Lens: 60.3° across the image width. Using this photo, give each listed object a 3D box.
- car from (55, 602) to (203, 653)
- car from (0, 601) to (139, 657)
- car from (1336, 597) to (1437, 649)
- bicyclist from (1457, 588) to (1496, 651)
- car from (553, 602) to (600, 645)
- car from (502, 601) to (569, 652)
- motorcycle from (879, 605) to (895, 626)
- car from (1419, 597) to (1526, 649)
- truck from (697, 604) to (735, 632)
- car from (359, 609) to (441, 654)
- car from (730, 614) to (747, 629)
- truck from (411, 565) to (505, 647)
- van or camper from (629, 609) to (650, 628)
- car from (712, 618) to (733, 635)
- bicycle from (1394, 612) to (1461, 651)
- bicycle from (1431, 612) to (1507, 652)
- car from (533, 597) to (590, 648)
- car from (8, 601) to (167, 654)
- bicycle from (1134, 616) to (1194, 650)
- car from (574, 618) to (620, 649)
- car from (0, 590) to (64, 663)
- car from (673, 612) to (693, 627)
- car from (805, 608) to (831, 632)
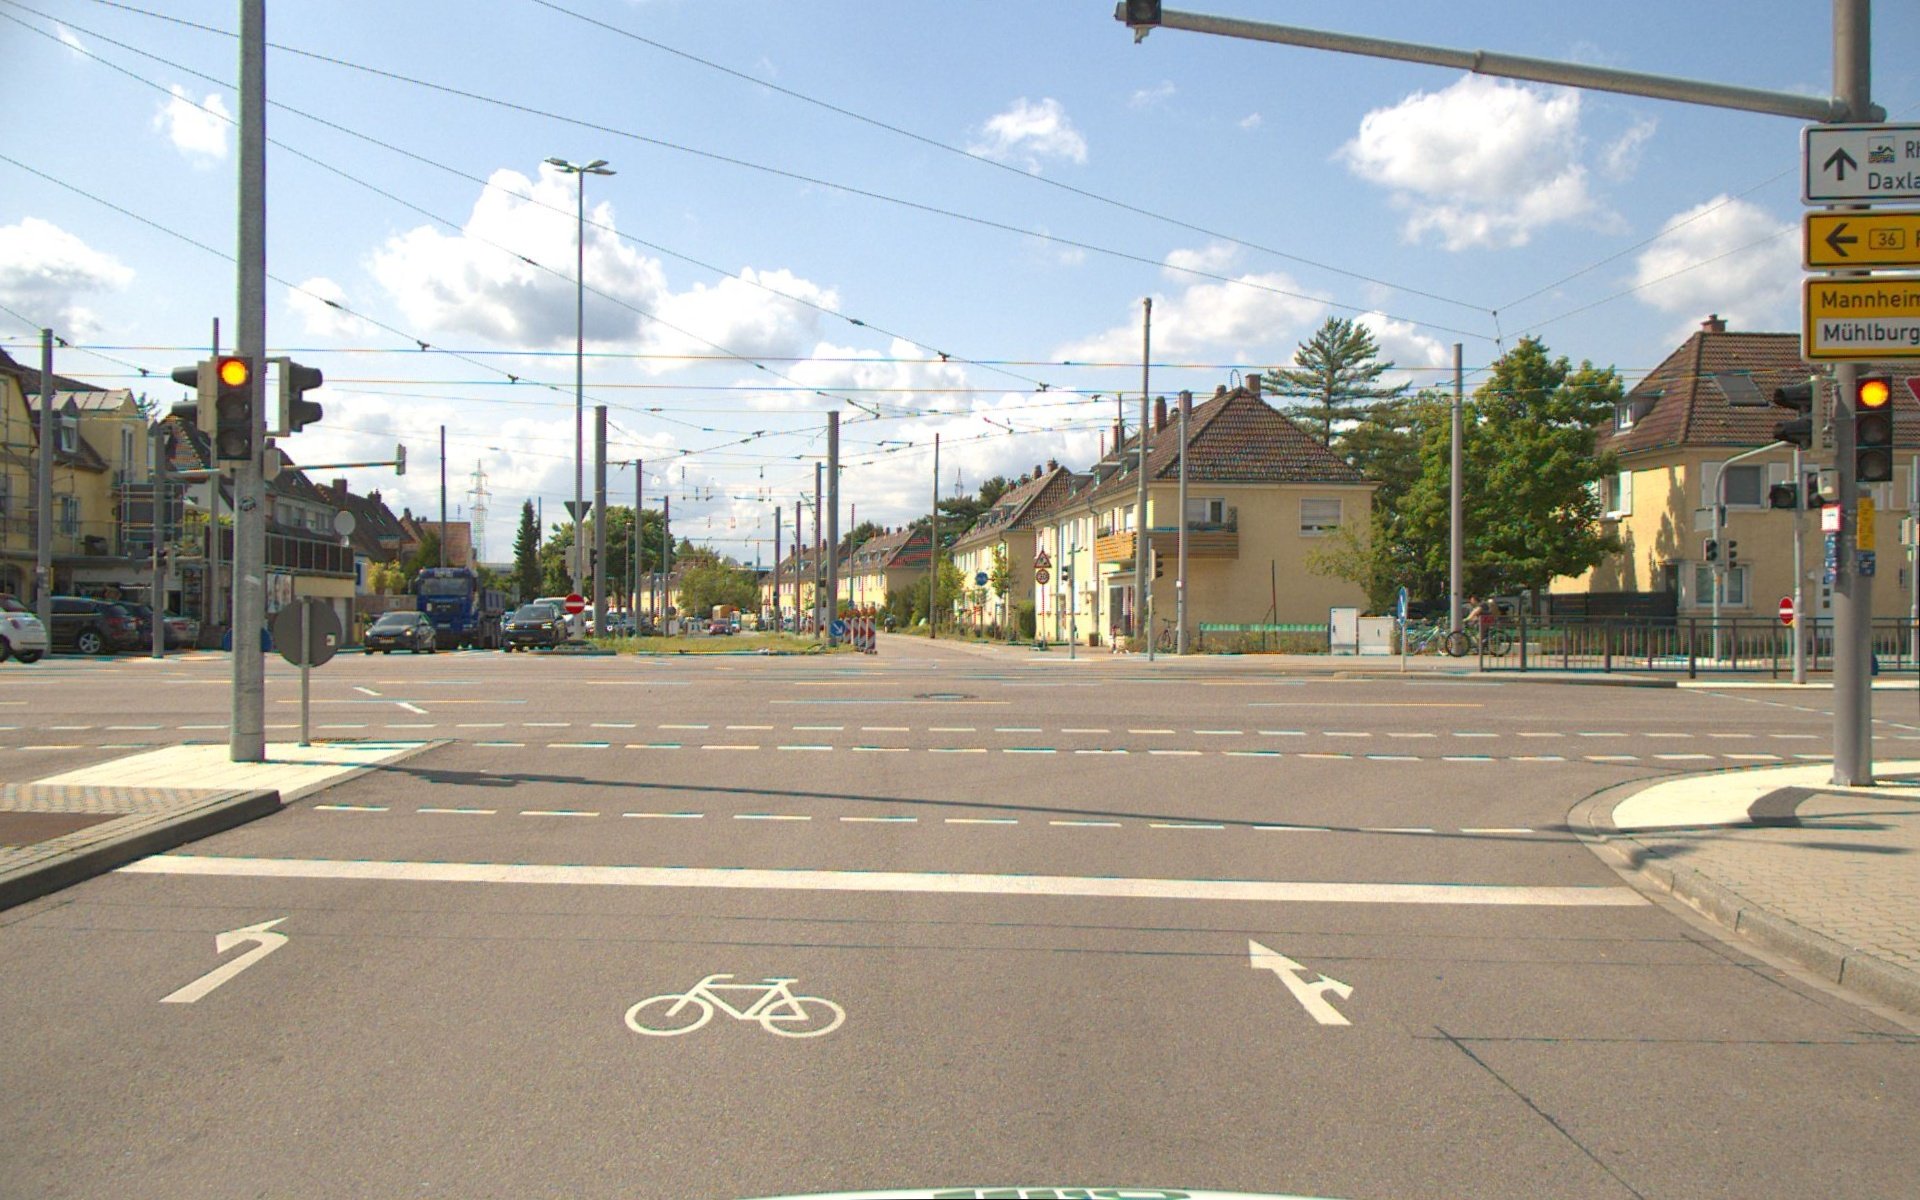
[{"bbox_3d":[-27.372,0.904,54.564,4.058,1.519,1.432,2,-1,-9],"label":"car"},{"bbox_3d":[-26.818,0.858,49.185,4.058,1.519,1.177,2,-1,-9],"label":"car"},{"bbox_3d":[14.294,0.793,55.589,1.789,1.649,3.990,0,-2,-10],"label":"car"},{"bbox_3d":[14.811,0.558,47.445,0.939,1.806,0.718,-1,-1,29],"label":"bicyclist"},{"bbox_3d":[-17.021,1.038,73.556,1.700,1.813,4.396,0,-1,-9],"label":"car"},{"bbox_3d":[-15.173,0.900,59.299,1.752,1.751,4.434,0,0,-7],"label":"car"},{"bbox_3d":[-5.838,1.221,131.906,1.046,1.664,2.079,0,-1,-9],"label":"motorcycle"},{"bbox_3d":[17.056,0.793,55.268,1.789,1.649,3.990,0,-2,-10],"label":"car"},{"bbox_3d":[-32.041,2.354,216.991,2.606,3.555,9.366,0,-1,-24],"label":"truck"},{"bbox_3d":[-19.494,1.089,57.752,1.792,1.513,4.328,0,-1,-6],"label":"car"},{"bbox_3d":[-23.907,2.336,178.788,1.808,1.589,4.180,0,-1,-7],"label":"car"},{"bbox_3d":[-20.927,0.305,69.337,2.717,3.244,7.567,0,-1,-9],"label":"truck"},{"bbox_3d":[-49.199,2.849,253.589,2.648,2.749,6.490,0,0,-16],"label":"van or camper"},{"bbox_3d":[-21.592,2.397,150.412,1.808,1.520,4.848,0,-1,-7],"label":"car"},{"bbox_3d":[13.724,0.914,48.604,1.773,1.124,0.699,0,-1,39],"label":"bicycle"},{"bbox_3d":[14.562,0.923,47.337,1.989,1.121,0.714,-1,-1,29],"label":"bicycle"},{"bbox_3d":[-15.793,0.899,65.705,1.780,1.955,4.738,0,-1,-9],"label":"car"},{"bbox_3d":[-27.299,0.858,51.854,4.058,1.519,1.504,2,-1,-9],"label":"car"},{"bbox_3d":[6.845,1.105,55.576,0.589,1.116,2.245,1,-1,-38],"label":"bicycle"},{"bbox_3d":[-17.628,1.610,80.486,1.879,1.444,3.992,0,-1,-9],"label":"car"},{"bbox_3d":[-21.323,0.535,35.312,3.472,1.534,1.583,1,0,-6],"label":"car"},{"bbox_3d":[-37.799,2.621,225.661,1.966,1.944,3.973,0,0,-22],"label":"car"},{"bbox_3d":[-13.460,1.881,157.027,2.028,2.187,4.866,0,-1,-10],"label":"car"}]
